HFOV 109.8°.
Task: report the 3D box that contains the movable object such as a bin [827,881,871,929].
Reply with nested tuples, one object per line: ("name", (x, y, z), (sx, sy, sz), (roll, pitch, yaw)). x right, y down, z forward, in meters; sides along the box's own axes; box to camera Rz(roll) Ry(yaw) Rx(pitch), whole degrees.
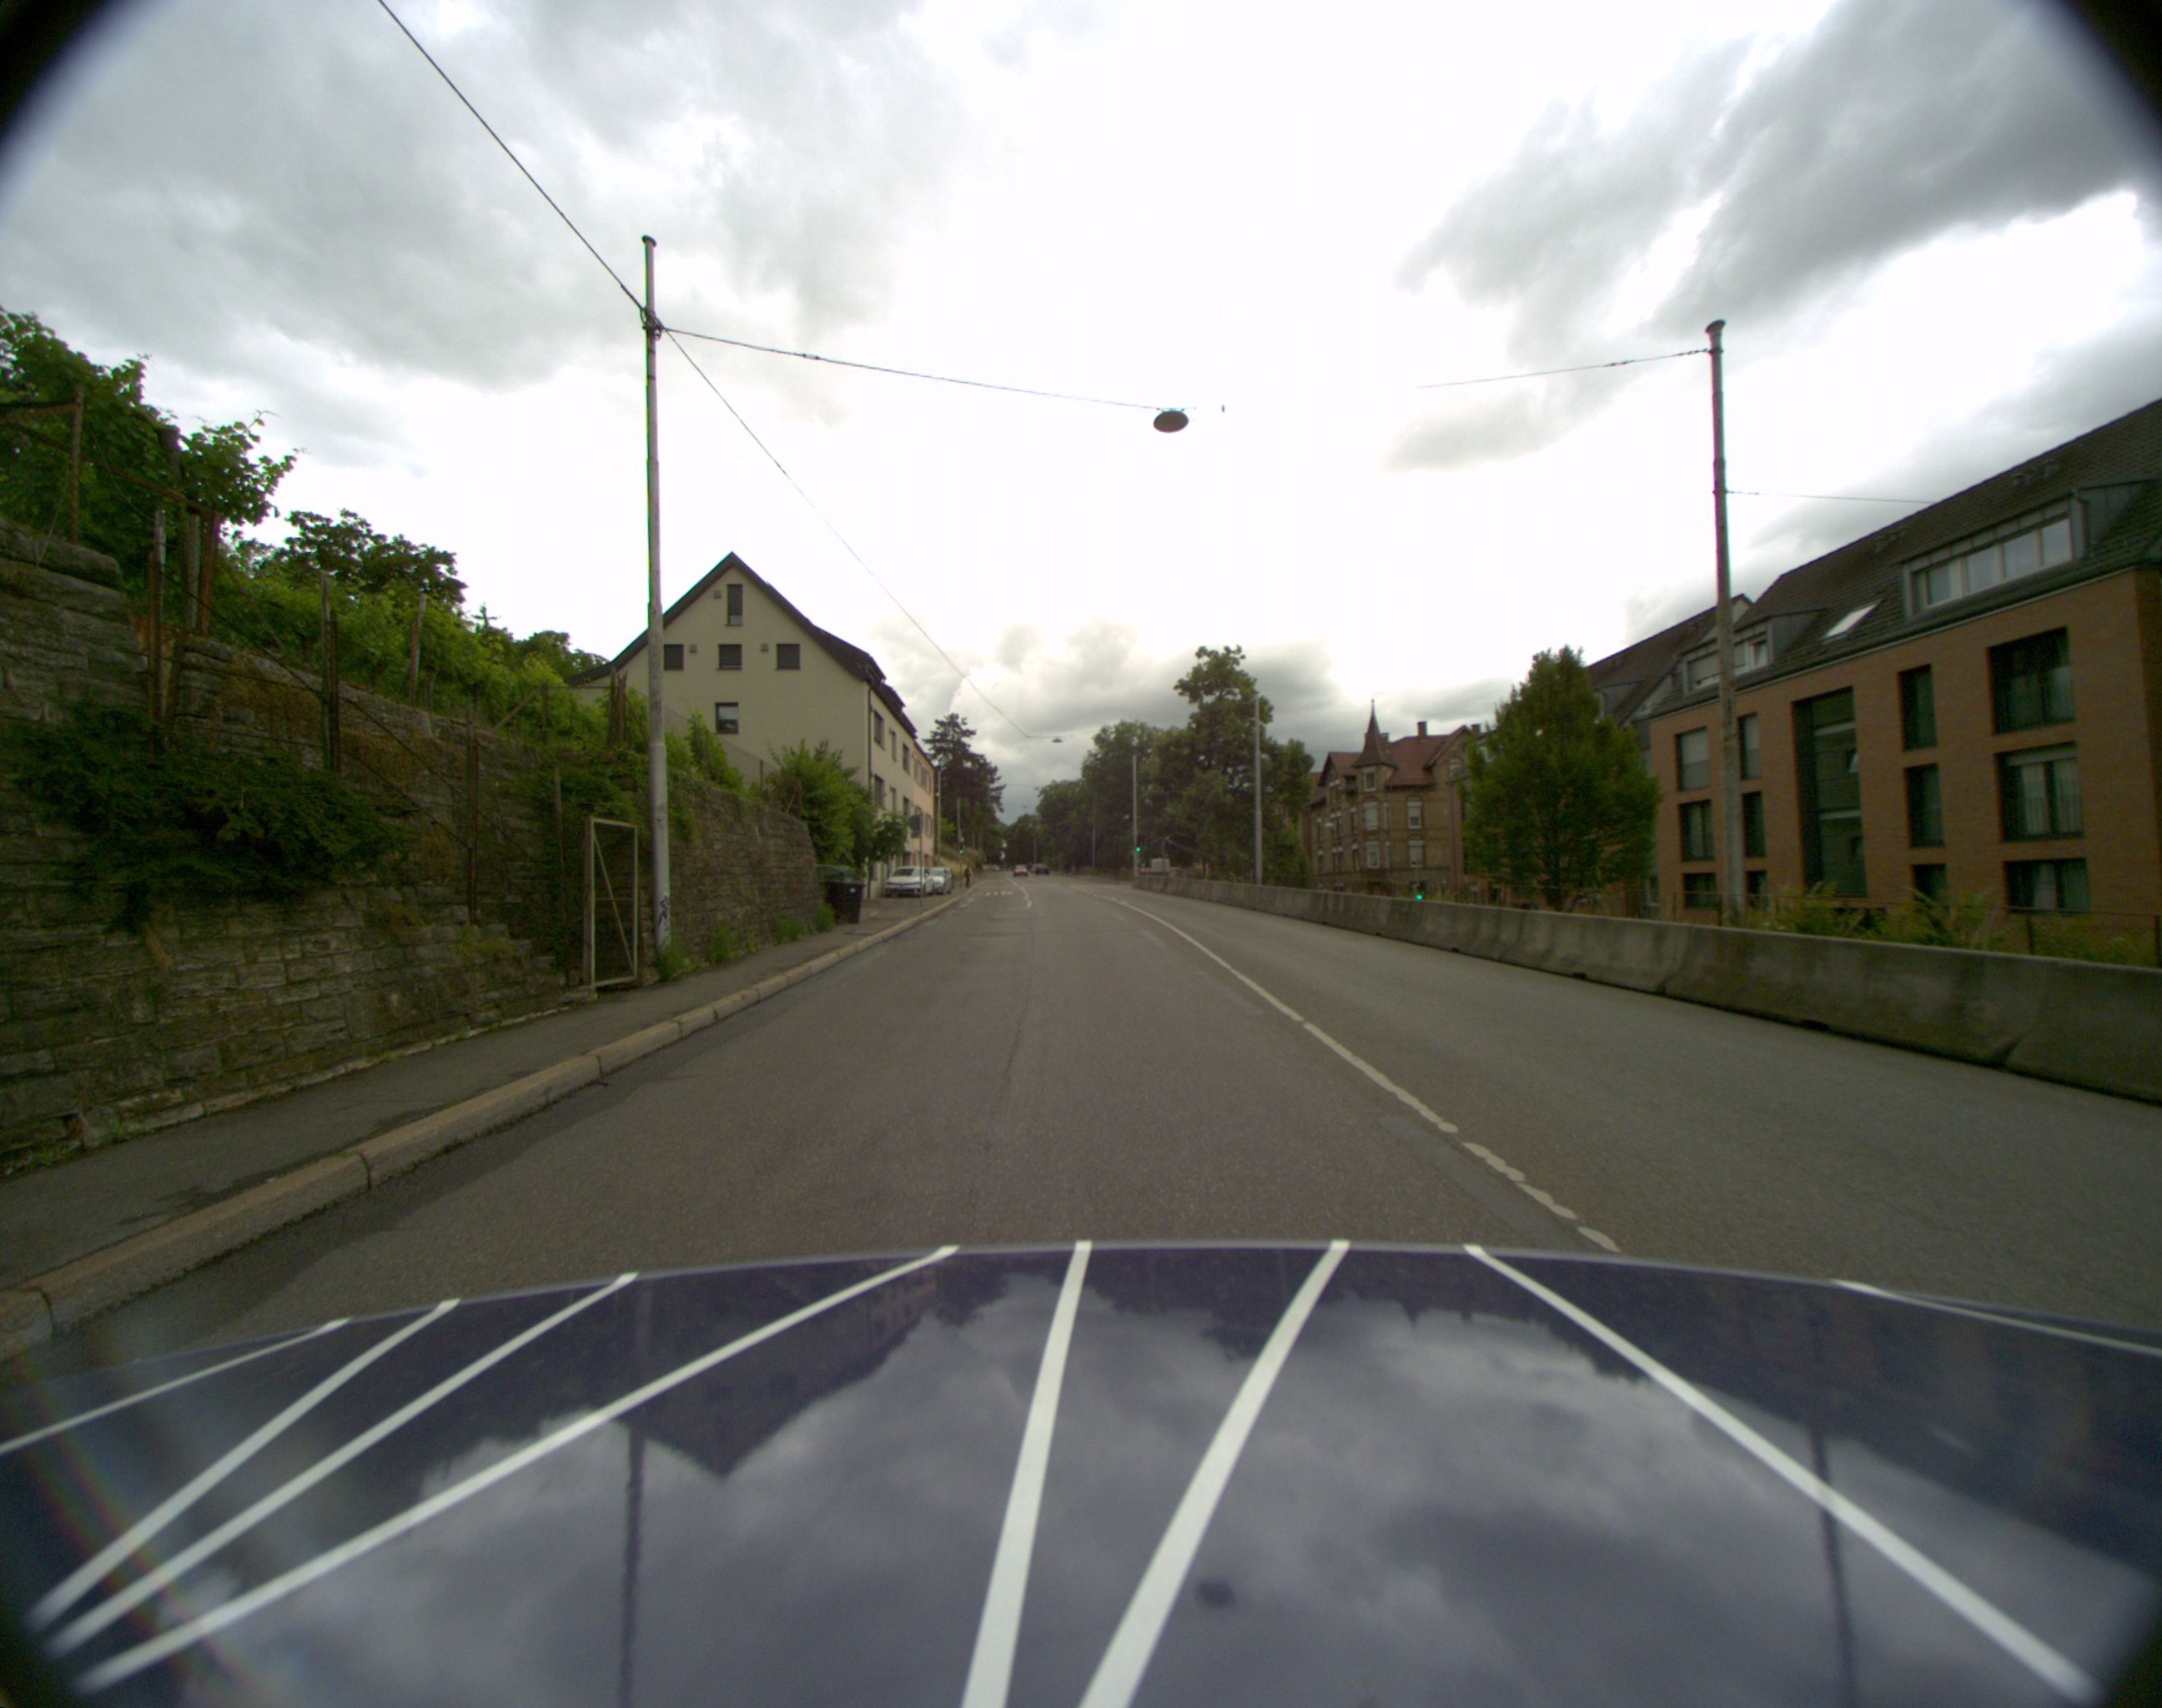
("movable object such as a bin", (-5.771, 1.251, 18.939), (0.811, 1.120, 0.874), (-2, 0, -2))

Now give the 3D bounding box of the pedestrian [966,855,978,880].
("pedestrian", (-7.789, 0.954, 54.383), (0.735, 1.702, 0.696), (-2, 0, 2))

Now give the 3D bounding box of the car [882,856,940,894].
("car", (-7.877, 0.925, 35.505), (1.799, 1.566, 4.055), (-2, 1, -1))

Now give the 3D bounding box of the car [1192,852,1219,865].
("car", (12.474, 0.457, 76.167), (1.999, 1.346, 4.000), (0, 0, -1))

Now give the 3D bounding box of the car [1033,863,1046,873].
("car", (-7.589, 2.594, 138.748), (1.998, 1.652, 4.000), (-2, 0, 1))

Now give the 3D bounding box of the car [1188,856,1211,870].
("car", (13.685, 1.071, 87.848), (1.999, 1.543, 4.000), (-2, 0, -1))

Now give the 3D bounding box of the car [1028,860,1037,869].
("car", (-11.232, 2.470, 177.379), (1.999, 1.838, 3.999), (-2, 0, -3))

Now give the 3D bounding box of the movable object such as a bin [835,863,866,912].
("movable object such as a bin", (-7.453, 1.058, 24.594), (0.753, 1.533, 1.064), (-2, 0, -8))

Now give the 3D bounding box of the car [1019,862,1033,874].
("car", (-6.913, 1.800, 94.982), (1.646, 1.429, 3.999), (-1, -1, -3))

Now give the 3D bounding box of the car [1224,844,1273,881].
("car", (12.616, 0.591, 57.679), (2.565, 2.567, 5.736), (-2, 1, 2))

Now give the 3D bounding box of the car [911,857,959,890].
("car", (-7.716, 0.976, 40.445), (1.732, 1.566, 4.248), (-2, 1, -1))

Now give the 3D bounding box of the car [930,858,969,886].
("car", (-8.310, 1.090, 48.437), (1.909, 1.566, 4.247), (-3, 1, -3))

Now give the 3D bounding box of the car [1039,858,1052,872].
("car", (-5.190, 1.578, 111.036), (1.787, 1.871, 3.999), (-2, 0, -5))
